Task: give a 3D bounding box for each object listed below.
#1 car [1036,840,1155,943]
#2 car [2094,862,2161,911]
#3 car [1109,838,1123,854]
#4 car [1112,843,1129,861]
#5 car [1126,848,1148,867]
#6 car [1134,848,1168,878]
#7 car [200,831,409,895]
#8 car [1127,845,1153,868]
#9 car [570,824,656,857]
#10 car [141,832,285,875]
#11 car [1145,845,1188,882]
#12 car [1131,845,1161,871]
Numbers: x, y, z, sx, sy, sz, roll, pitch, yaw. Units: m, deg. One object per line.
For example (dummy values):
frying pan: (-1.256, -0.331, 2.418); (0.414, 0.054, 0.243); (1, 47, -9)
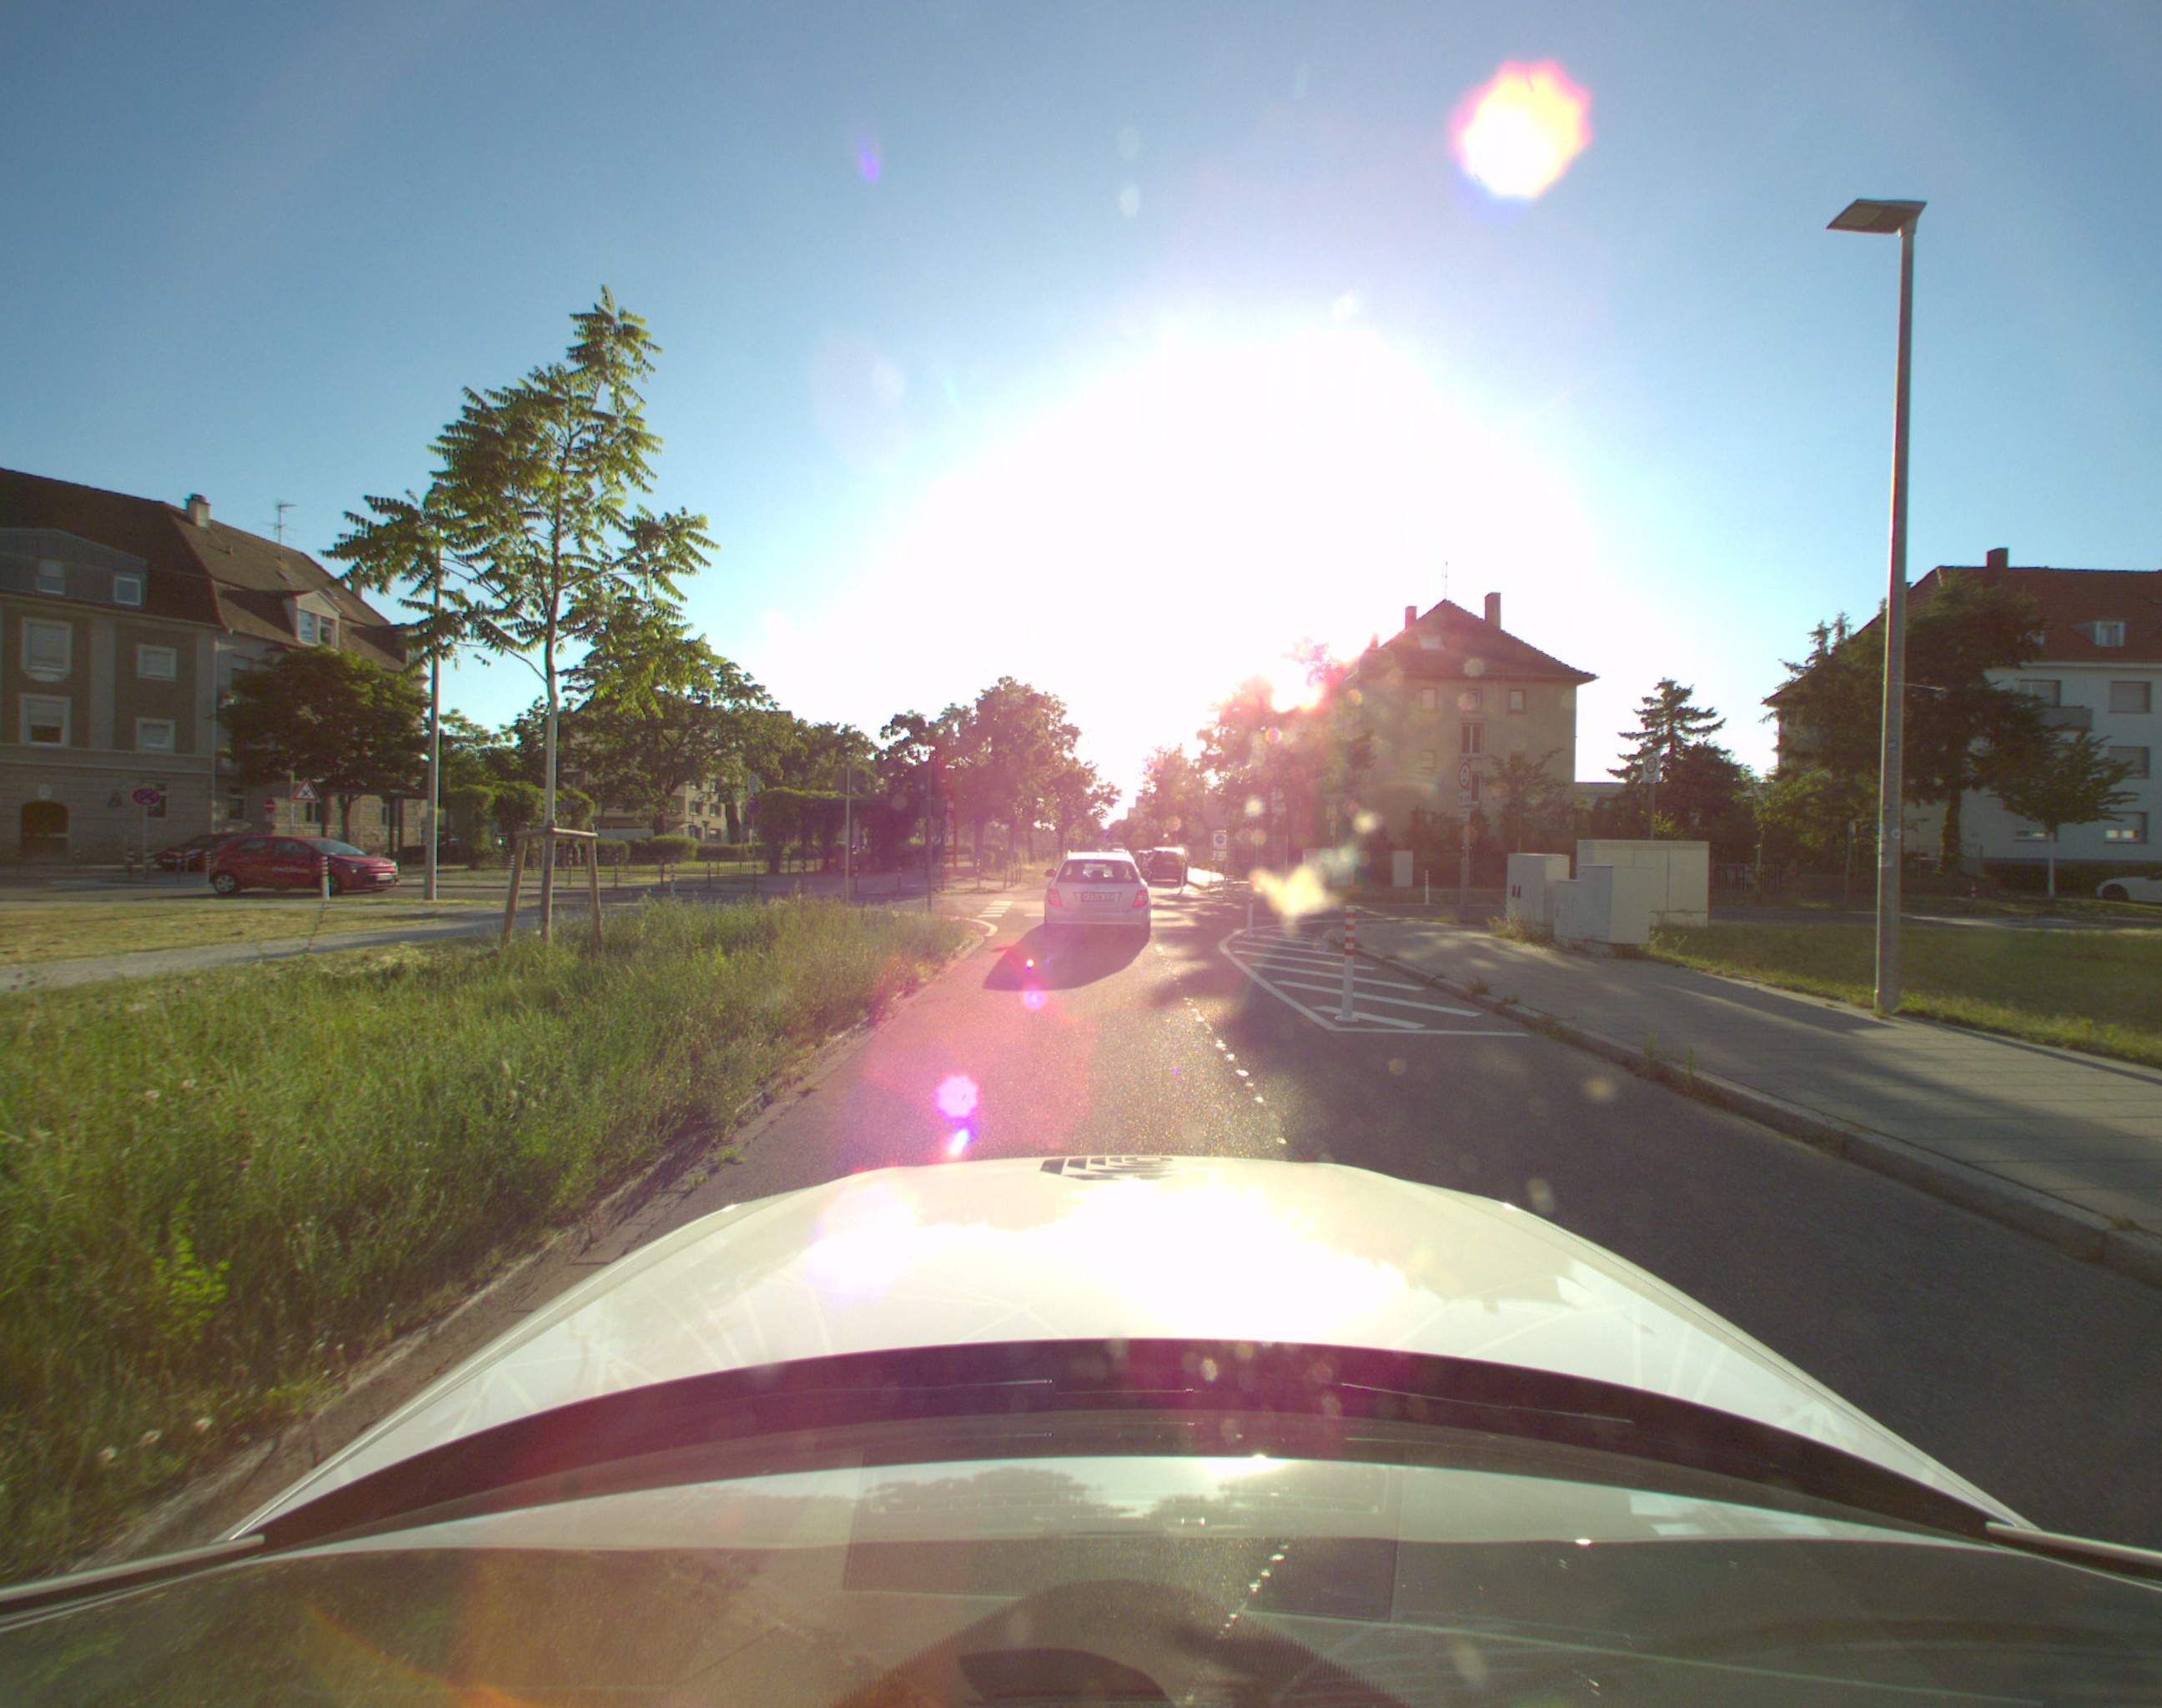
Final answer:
car: (0.285, 0.541, 14.486); (1.817, 1.566, 4.002); (0, 1, 2)
car: (38.131, 1.108, 27.686); (1.784, 1.617, 4.444); (-3, -1, -1)
car: (4.899, -1.084, 114.611); (1.854, 2.193, 5.072); (1, 0, 2)
car: (4.629, -0.282, 96.448); (1.981, 2.023, 4.002); (1, 0, 2)
car: (4.973, 0.302, 72.665); (1.715, 1.597, 4.002); (1, 0, 2)
car: (4.000, 0.492, 47.221); (1.715, 1.597, 4.002); (1, 0, 2)
car: (-19.821, 0.210, 20.931); (3.579, 1.481, 1.683); (1, 2, -5)
car: (4.427, 0.165, 61.505); (1.715, 1.597, 4.002); (1, 0, 2)
car: (-40.136, -1.105, 70.082); (6.333, 2.720, 1.984); (0, 1, -29)
car: (-38.385, 0.000, 36.190); (1.637, 1.707, 4.296); (-3, -1, 3)
car: (3.941, 0.433, 38.219); (1.715, 1.597, 4.001); (0, 0, 2)
car: (4.187, 0.220, 52.845); (1.715, 1.597, 4.002); (1, 0, 2)
